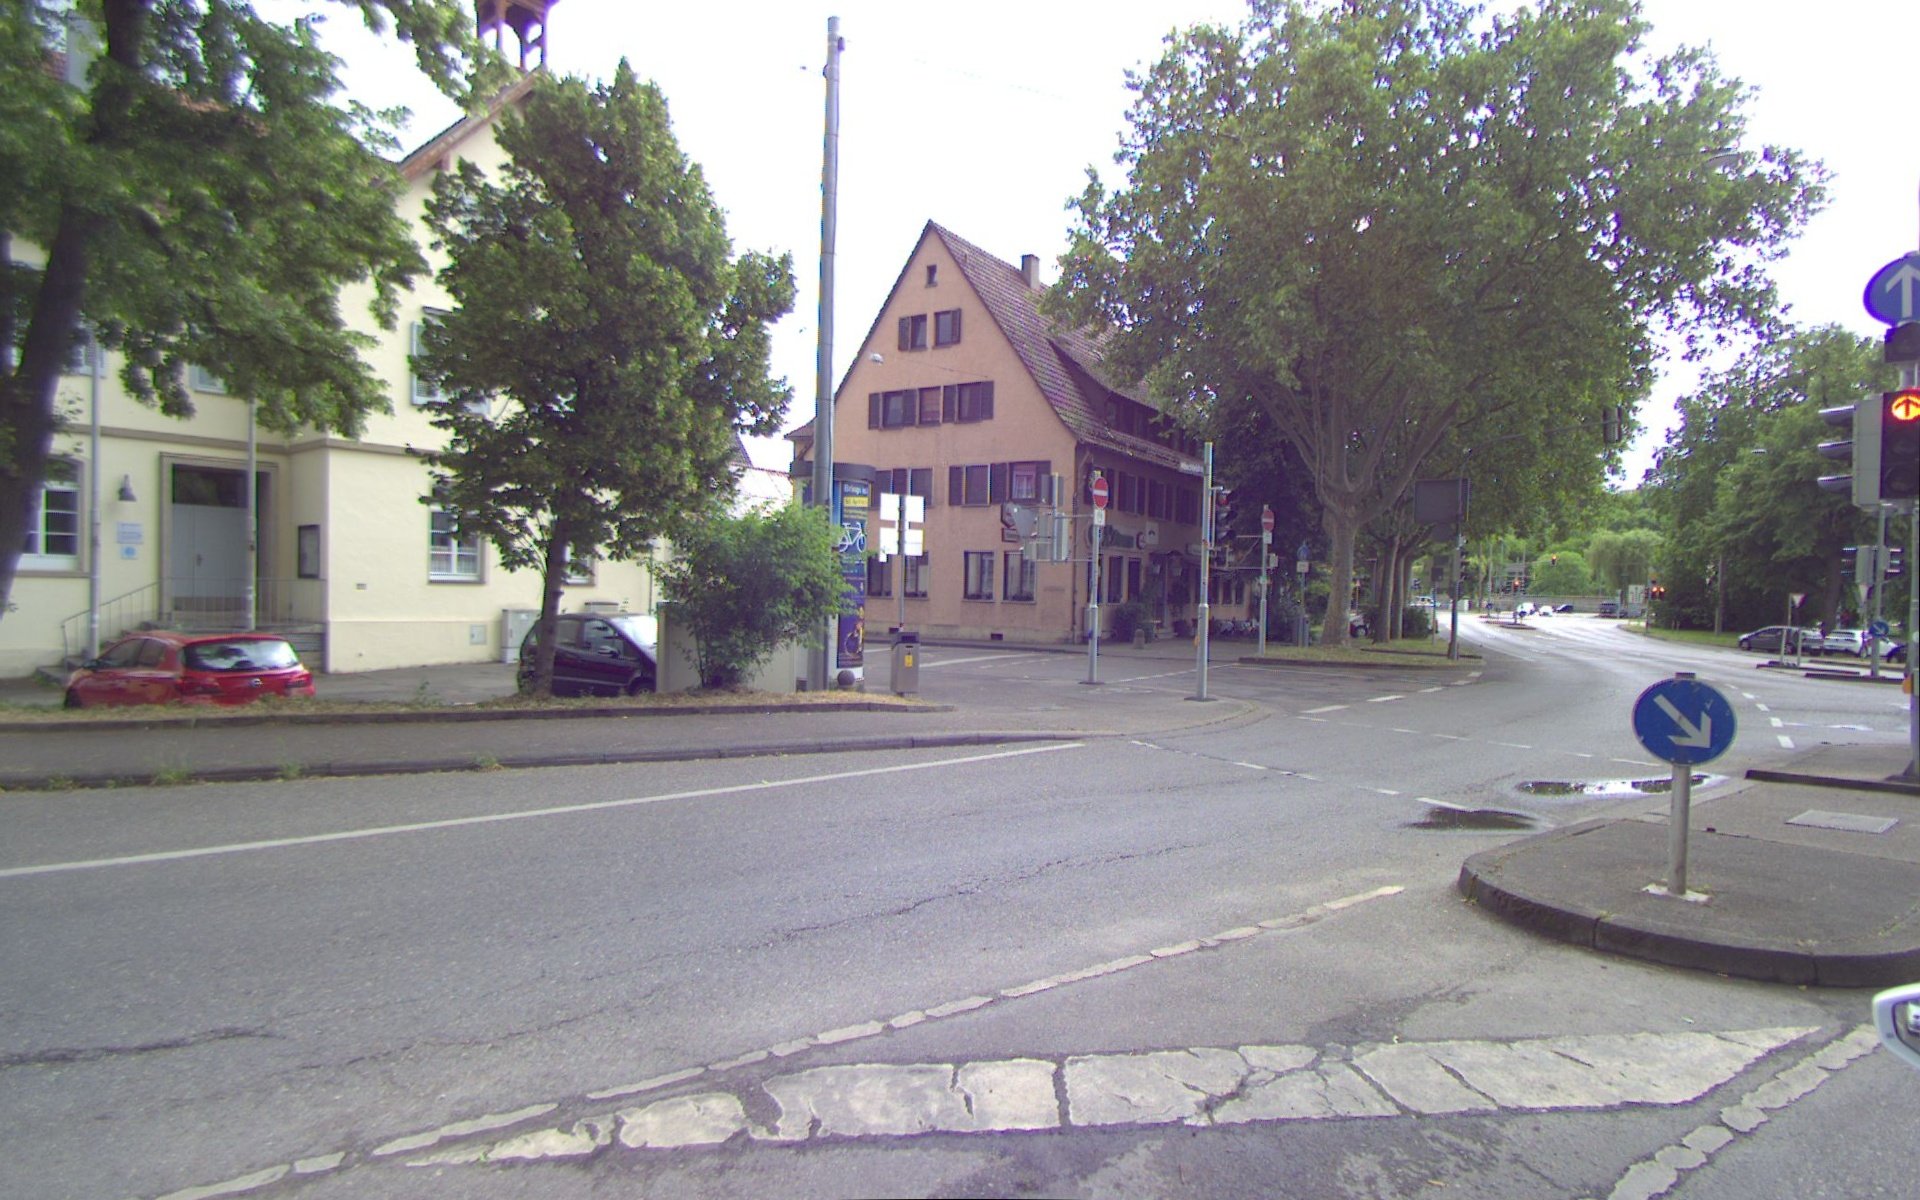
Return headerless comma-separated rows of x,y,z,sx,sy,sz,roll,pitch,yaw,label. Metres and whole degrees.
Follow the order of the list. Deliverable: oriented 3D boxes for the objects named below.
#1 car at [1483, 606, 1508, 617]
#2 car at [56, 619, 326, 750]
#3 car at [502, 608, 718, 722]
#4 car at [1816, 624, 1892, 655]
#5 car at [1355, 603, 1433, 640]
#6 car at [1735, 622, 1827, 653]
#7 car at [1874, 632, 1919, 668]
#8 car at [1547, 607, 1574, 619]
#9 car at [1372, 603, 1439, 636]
100.731,2.147,188.933,3.928,2.040,1.996,2,0,30,car
-10.174,1.010,13.253,3.492,1.397,1.605,2,0,30,car
-5.762,1.004,16.600,3.035,1.654,1.607,2,0,22,car
47.307,2.086,53.162,3.342,1.484,1.543,2,0,-19,car
21.413,1.050,49.587,3.387,1.663,1.570,2,0,28,car
43.868,1.973,53.762,1.559,1.484,3.543,2,0,-17,car
39.573,2.081,40.947,1.442,1.412,3.596,2,0,3,car
108.245,2.336,181.087,3.928,2.040,1.996,2,0,30,car
25.475,1.089,57.470,3.387,1.765,1.570,2,0,28,car
